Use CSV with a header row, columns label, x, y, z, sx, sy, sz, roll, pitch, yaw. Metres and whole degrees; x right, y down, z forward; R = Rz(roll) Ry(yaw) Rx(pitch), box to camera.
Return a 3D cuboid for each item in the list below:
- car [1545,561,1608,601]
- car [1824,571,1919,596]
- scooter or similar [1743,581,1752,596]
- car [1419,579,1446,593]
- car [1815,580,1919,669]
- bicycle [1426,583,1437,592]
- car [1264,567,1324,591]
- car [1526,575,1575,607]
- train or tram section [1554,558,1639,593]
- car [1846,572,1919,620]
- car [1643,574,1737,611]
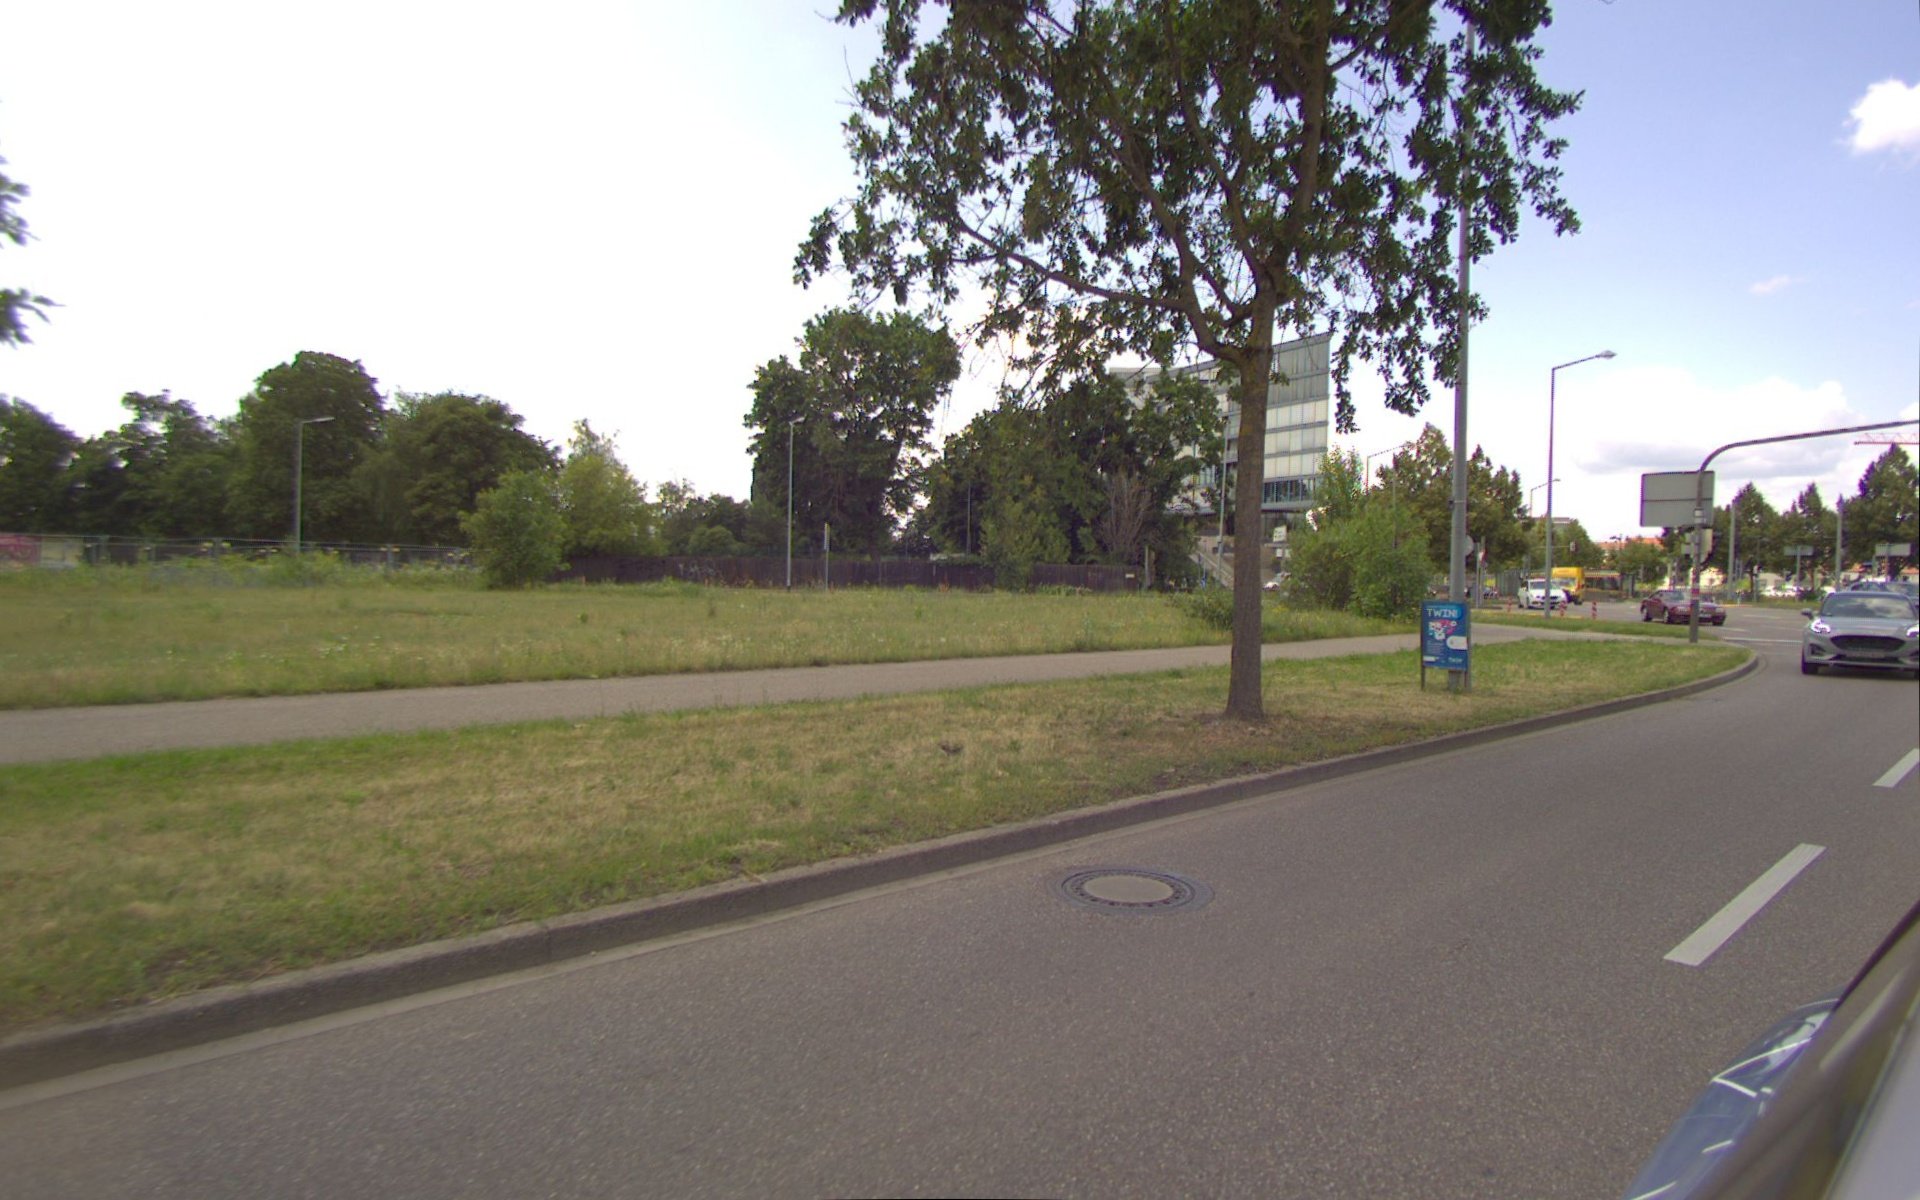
label,x,y,z,sx,sy,sz,roll,pitch,yaw
car,46.702,-1.439,76.565,7.136,2.888,2.280,-1,2,-44
car,65.877,-1.217,73.071,5.028,1.695,1.979,1,1,31
scooter or similar,74.973,-1.082,96.385,0.415,1.317,1.333,1,3,28
car,59.457,-1.759,127.487,1.967,1.712,4.286,-1,1,9
car,17.391,0.385,19.083,1.670,1.489,4.028,2,2,44
bicycle,45.989,-1.239,98.688,0.352,0.836,1.473,1,1,2
car,32.221,-2.023,97.613,5.044,2.174,2.153,0,1,-11
car,31.530,-0.502,54.130,1.656,1.618,4.097,-1,1,23
train or tram section,73.959,-2.868,118.021,2.803,3.786,13.452,1,1,7
car,35.879,-0.187,38.334,1.749,1.618,4.113,-1,2,13
car,27.335,-0.336,38.021,1.653,1.277,4.069,1,2,18
